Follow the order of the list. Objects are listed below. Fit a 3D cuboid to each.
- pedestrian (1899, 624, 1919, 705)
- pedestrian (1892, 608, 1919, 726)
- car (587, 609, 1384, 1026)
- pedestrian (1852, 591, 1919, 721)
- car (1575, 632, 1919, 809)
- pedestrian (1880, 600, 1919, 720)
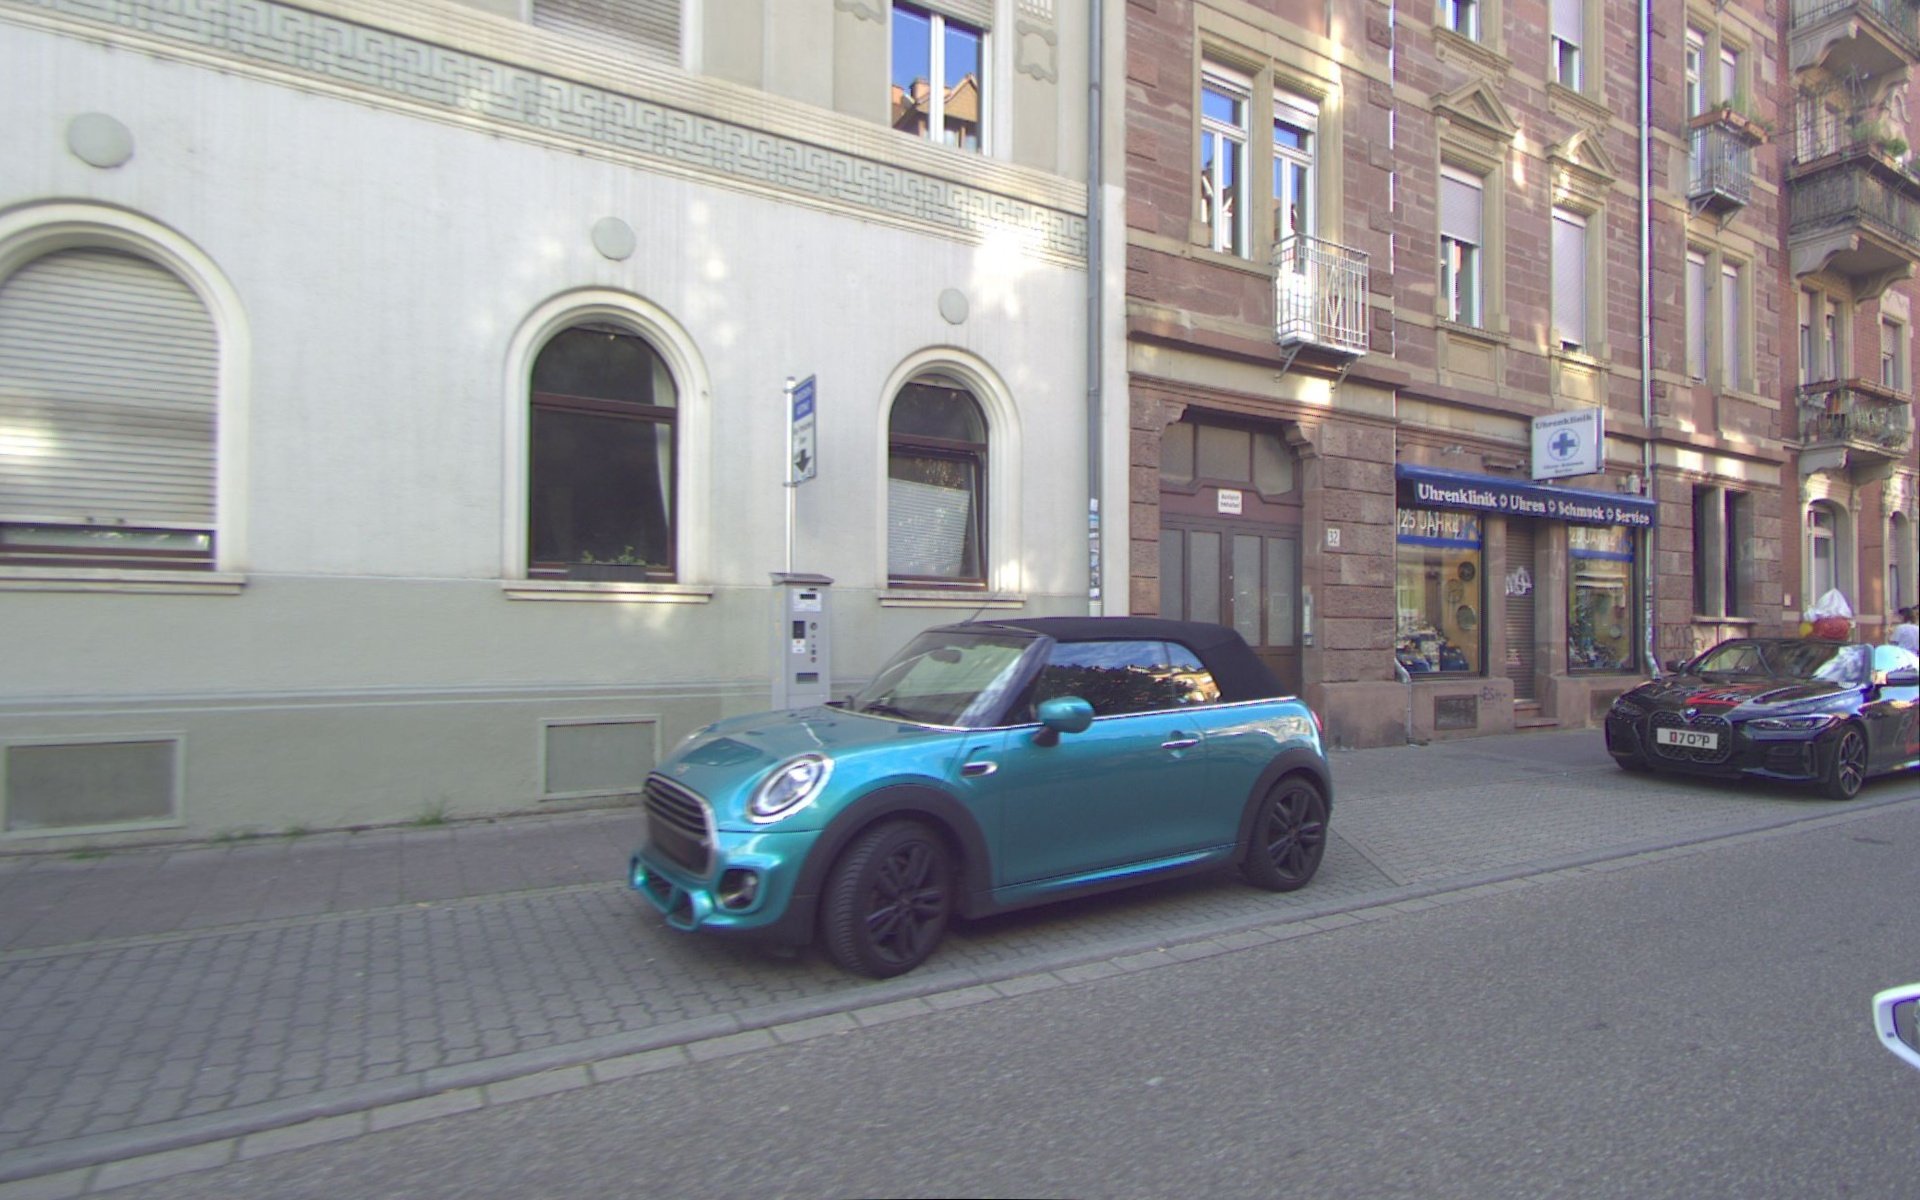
[{"bbox_3d":[17.856,1.187,18.466,0.714,1.489,0.604,1,0,-19],"label":"pedestrian"},{"bbox_3d":[14.950,1.026,15.367,0.652,1.783,0.763,1,0,0],"label":"pedestrian"},{"bbox_3d":[0.295,0.805,5.289,3.970,1.434,1.660,2,-1,-34],"label":"car"},{"bbox_3d":[14.887,0.881,16.081,0.617,2.040,0.645,1,-1,-1],"label":"pedestrian"},{"bbox_3d":[8.473,1.043,10.097,5.056,1.369,1.803,2,-1,-31],"label":"car"},{"bbox_3d":[15.527,0.962,16.287,0.589,1.917,0.648,1,0,0],"label":"pedestrian"}]
